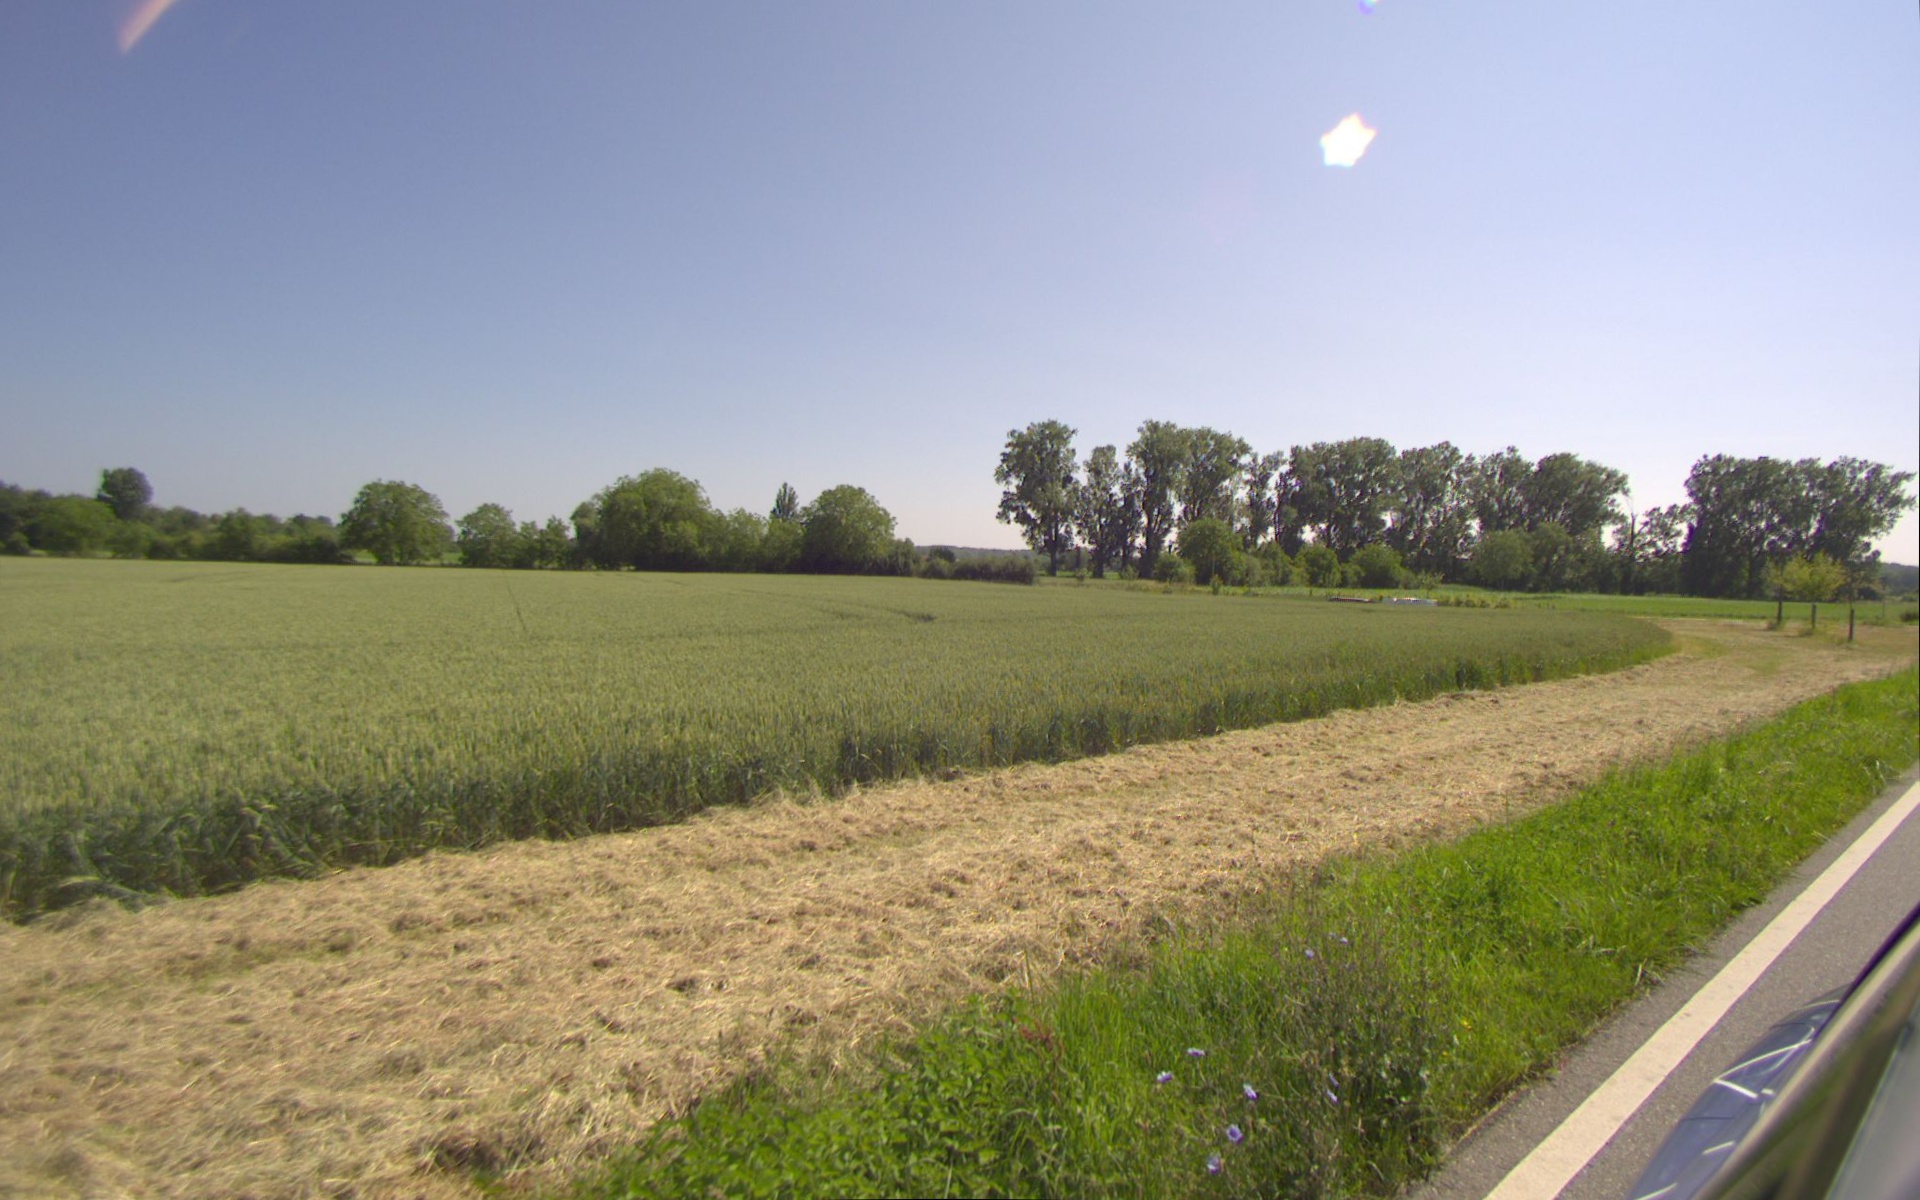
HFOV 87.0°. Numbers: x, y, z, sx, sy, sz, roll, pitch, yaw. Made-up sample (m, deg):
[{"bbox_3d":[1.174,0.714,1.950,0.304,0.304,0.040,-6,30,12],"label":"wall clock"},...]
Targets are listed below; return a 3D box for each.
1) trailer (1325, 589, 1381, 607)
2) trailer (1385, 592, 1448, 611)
[{"bbox_3d":[28.125,-0.130,72.540,1.630,1.204,3.554,0,1,-28],"label":"trailer"},{"bbox_3d":[30.636,0.080,68.005,1.630,1.204,3.601,0,1,-28],"label":"trailer"}]
